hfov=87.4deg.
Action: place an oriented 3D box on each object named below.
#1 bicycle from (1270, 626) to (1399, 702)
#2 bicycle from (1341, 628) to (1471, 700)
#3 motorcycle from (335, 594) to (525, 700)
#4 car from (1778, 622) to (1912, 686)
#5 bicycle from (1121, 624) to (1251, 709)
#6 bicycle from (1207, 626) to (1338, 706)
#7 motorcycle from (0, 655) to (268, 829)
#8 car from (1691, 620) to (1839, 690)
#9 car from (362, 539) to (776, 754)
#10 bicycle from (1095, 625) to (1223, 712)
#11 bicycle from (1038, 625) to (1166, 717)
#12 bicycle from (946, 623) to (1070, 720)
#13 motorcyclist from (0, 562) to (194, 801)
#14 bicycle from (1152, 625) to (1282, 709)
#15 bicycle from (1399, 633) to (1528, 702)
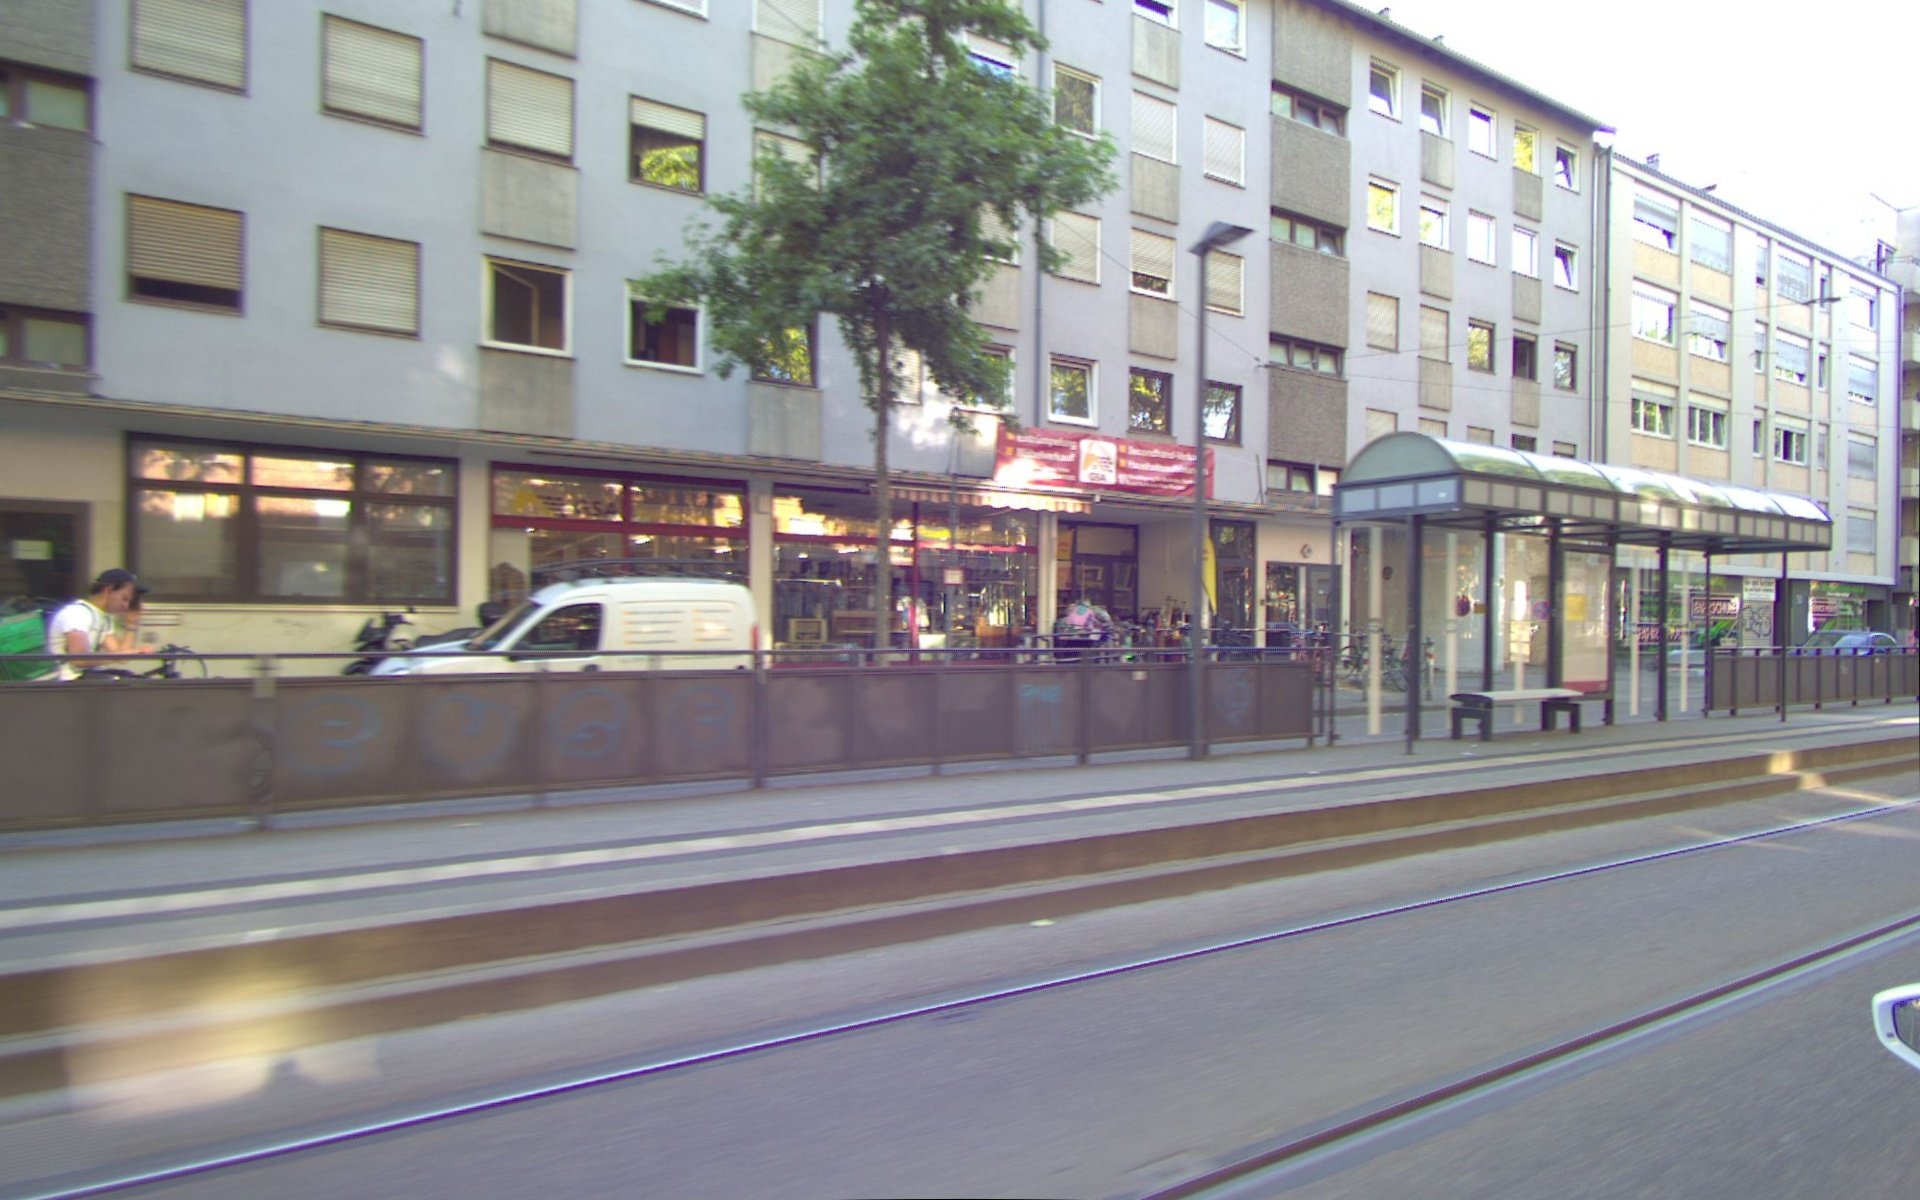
[{"bbox_3d":[6.554,1.094,17.732,0.628,1.088,2.243,1,2,-28],"label":"bicycle"},{"bbox_3d":[8.179,1.147,18.530,0.628,1.088,2.243,1,2,-28],"label":"bicycle"},{"bbox_3d":[-7.049,0.615,13.446,2.196,1.328,0.596,1,-1,-31],"label":"motorcycle"},{"bbox_3d":[24.364,1.447,27.635,3.953,1.569,1.585,1,1,-31],"label":"car"},{"bbox_3d":[3.486,0.996,15.738,0.628,1.088,2.243,1,2,-28],"label":"bicycle"},{"bbox_3d":[5.145,1.056,16.717,0.628,1.088,2.243,1,2,-28],"label":"bicycle"},{"bbox_3d":[-5.726,0.898,6.615,1.855,1.046,0.592,1,-3,-30],"label":"motorcycle"},{"bbox_3d":[20.236,1.342,25.221,3.953,1.569,1.585,1,1,-31],"label":"car"},{"bbox_3d":[-4.181,0.470,10.938,3.954,1.966,1.680,1,-1,-31],"label":"car"},{"bbox_3d":[3.012,1.011,15.484,0.628,1.088,2.243,1,2,-28],"label":"bicycle"},{"bbox_3d":[2.037,0.997,14.790,0.628,1.088,2.243,1,2,-28],"label":"bicycle"},{"bbox_3d":[0.617,0.949,13.997,0.628,1.088,2.243,1,2,-28],"label":"bicycle"},{"bbox_3d":[-5.787,0.520,6.606,1.091,1.468,0.592,1,-3,-30],"label":"motorcyclist"},{"bbox_3d":[4.067,1.029,16.086,0.628,1.088,2.243,1,2,-28],"label":"bicycle"},{"bbox_3d":[9.696,1.268,19.445,0.628,1.088,2.243,1,2,-28],"label":"bicycle"}]
